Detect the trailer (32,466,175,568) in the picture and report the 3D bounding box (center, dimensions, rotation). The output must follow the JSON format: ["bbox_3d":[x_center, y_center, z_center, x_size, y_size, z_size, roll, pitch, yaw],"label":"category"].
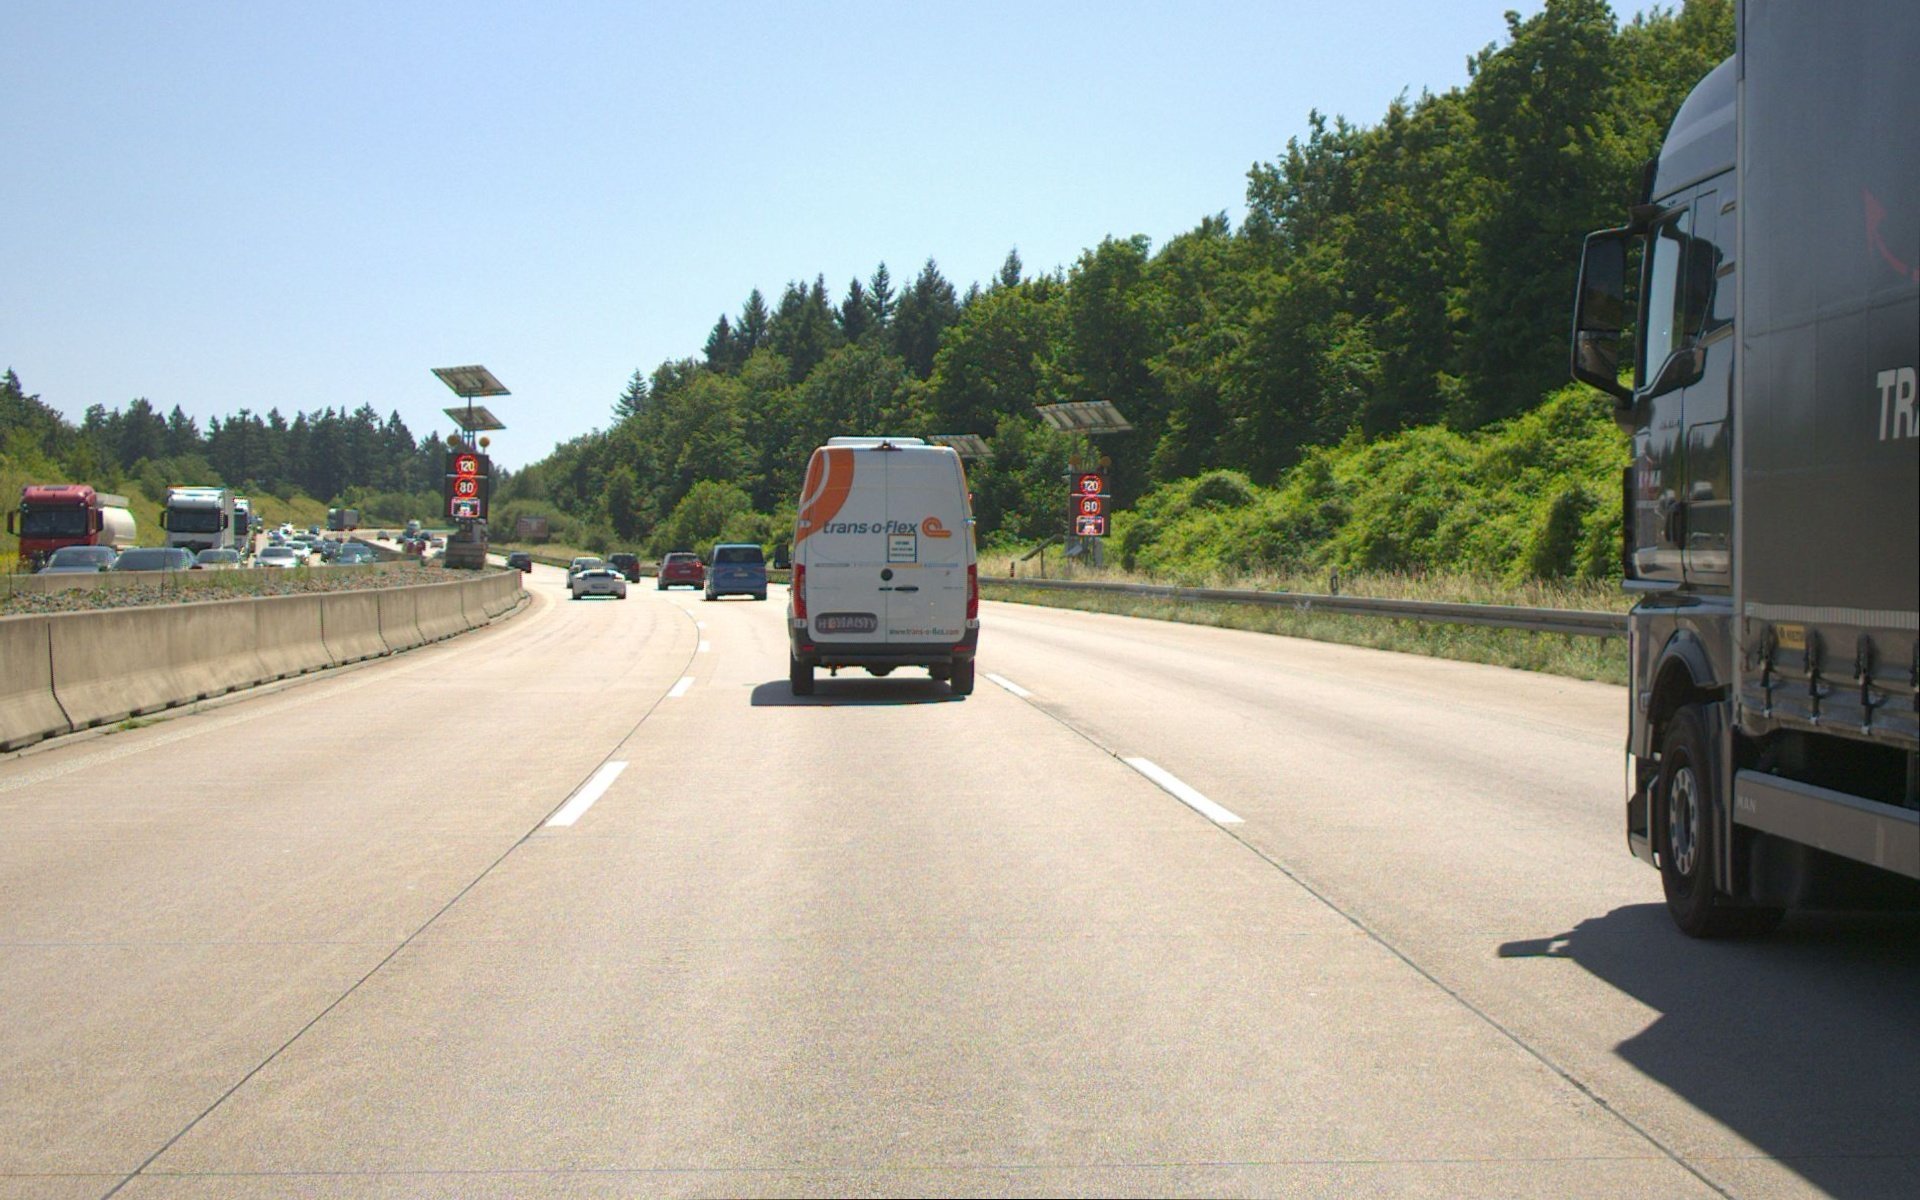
[{"bbox_3d":[-29.235,-2.753,117.809,2.933,3.204,11.834,2,0,-6],"label":"trailer"}]

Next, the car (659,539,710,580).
[{"bbox_3d":[-12.115,-1.781,150.892,1.993,1.678,4.001,2,0,-7],"label":"car"}]

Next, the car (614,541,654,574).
[{"bbox_3d":[-17.715,-2.302,186.753,1.993,1.678,4.001,2,0,-7],"label":"car"}]

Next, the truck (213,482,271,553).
[{"bbox_3d":[-44.066,-5.043,211.070,2.932,4.154,6.231,2,0,-8],"label":"truck"}]

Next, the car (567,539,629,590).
[{"bbox_3d":[-12.646,-1.253,120.025,1.993,1.678,4.001,2,0,-7],"label":"car"}]

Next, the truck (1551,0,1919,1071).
[{"bbox_3d":[4.285,-0.676,10.084,3.159,4.003,10.608,0,1,0],"label":"truck"}]

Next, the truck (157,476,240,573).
[{"bbox_3d":[-34.085,-3.348,154.083,2.933,4.154,5.762,2,0,-7],"label":"truck"}]

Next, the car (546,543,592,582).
[{"bbox_3d":[-18.028,-1.717,158.331,1.993,1.678,4.001,2,0,-7],"label":"car"}]

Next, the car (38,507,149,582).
[{"bbox_3d":[-20.854,-1.338,82.866,1.993,1.766,4.001,0,1,-5],"label":"car"}]

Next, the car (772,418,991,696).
[{"bbox_3d":[-0.955,-0.511,37.983,2.226,2.834,5.455,0,1,-3],"label":"car"}]

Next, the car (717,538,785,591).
[{"bbox_3d":[-7.120,-1.209,116.842,1.993,1.678,4.001,2,0,-7],"label":"car"}]

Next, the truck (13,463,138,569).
[{"bbox_3d":[-28.616,-2.674,111.427,2.933,3.204,5.906,2,0,-6],"label":"truck"}]
